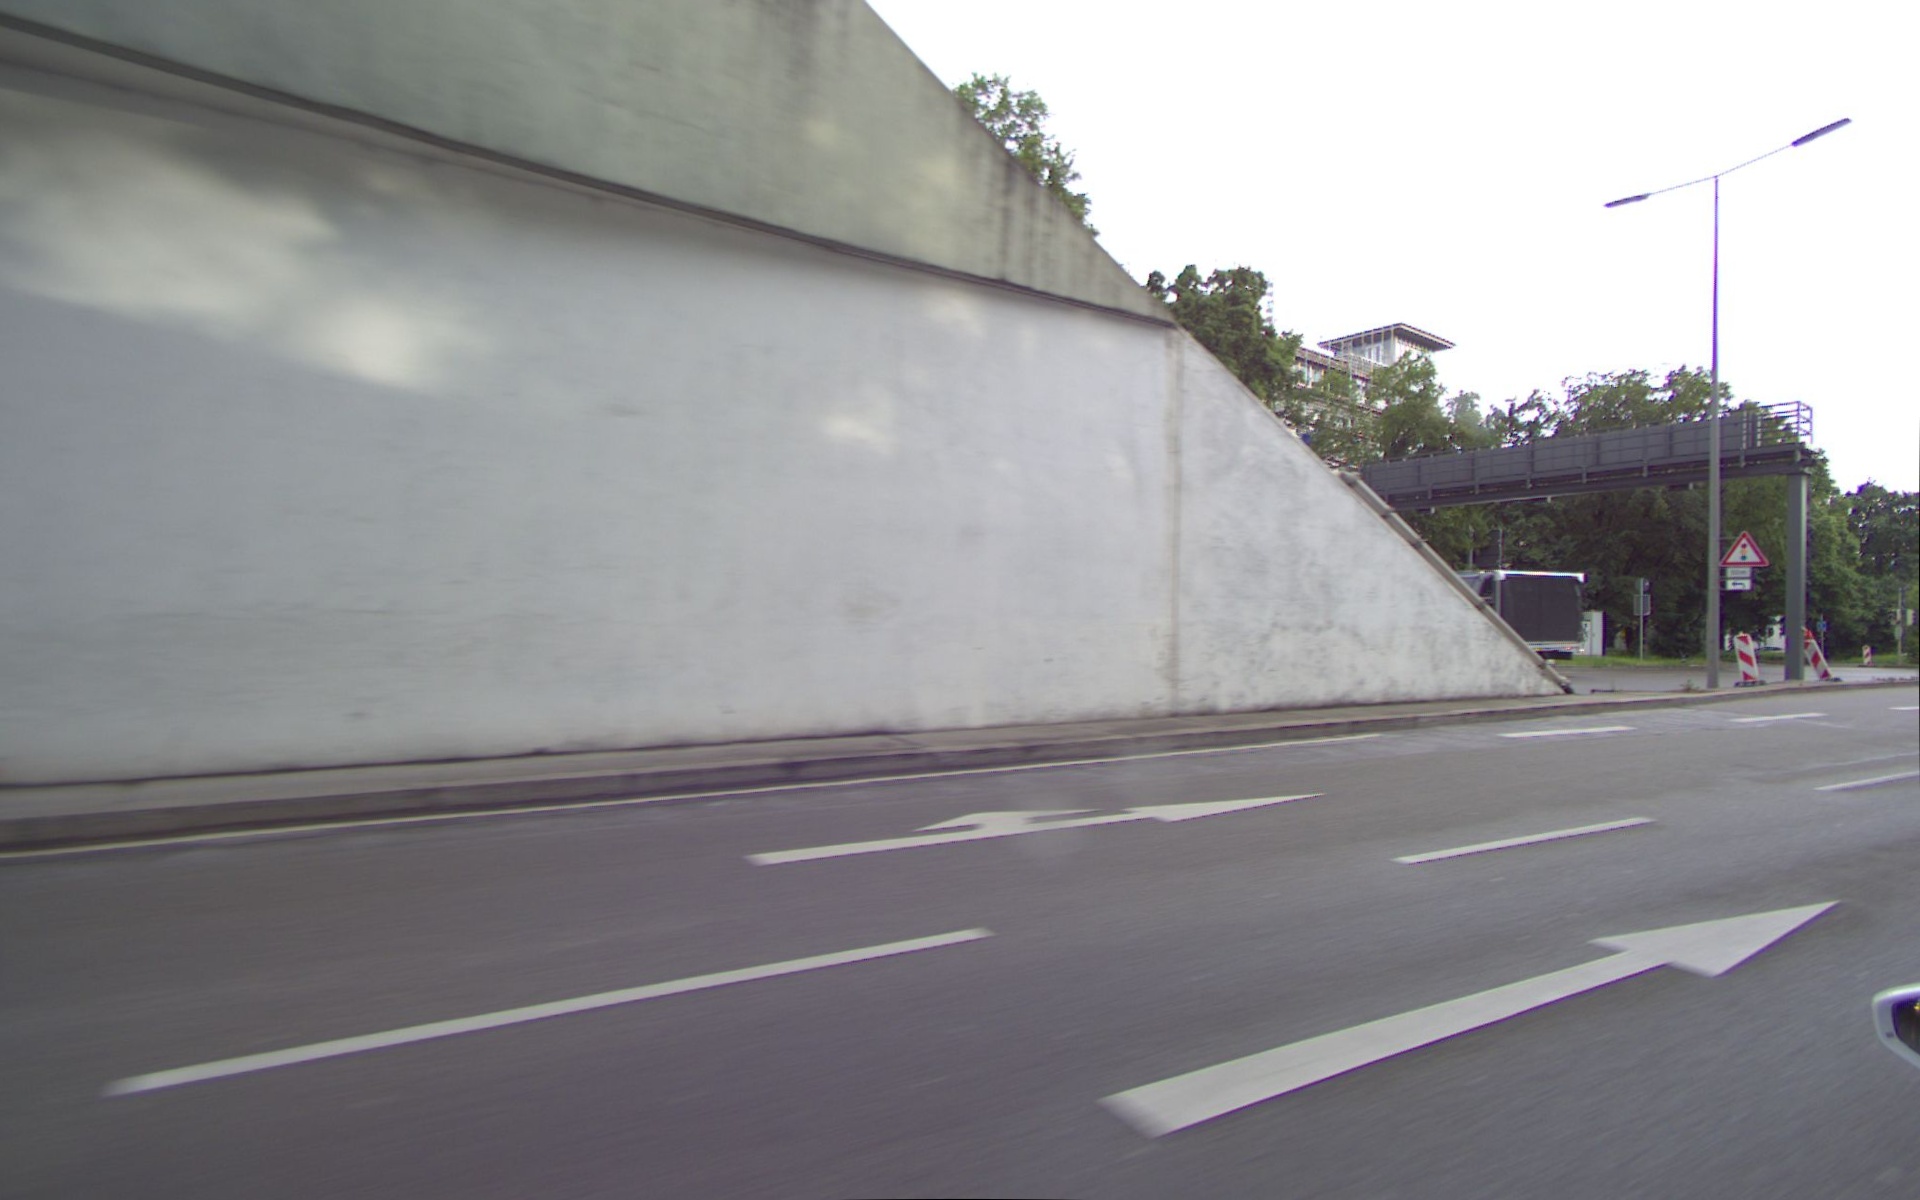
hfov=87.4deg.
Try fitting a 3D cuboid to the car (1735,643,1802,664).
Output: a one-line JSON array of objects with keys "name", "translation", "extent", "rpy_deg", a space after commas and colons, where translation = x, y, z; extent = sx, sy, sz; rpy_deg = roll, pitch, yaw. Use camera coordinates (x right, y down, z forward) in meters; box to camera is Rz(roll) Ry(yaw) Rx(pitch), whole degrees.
[{"name": "car", "translation": [67.126, 4.423, 83.432], "extent": [1.874, 1.534, 3.971], "rpy_deg": [1, -1, -28]}]

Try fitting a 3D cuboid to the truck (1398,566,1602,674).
[{"name": "truck", "translation": [18.208, 0.677, 33.773], "extent": [7.062, 3.320, 2.784], "rpy_deg": [1, -1, -30]}]

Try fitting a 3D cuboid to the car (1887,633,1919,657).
[{"name": "car", "translation": [71.333, 3.311, 74.062], "extent": [1.874, 1.706, 3.970], "rpy_deg": [1, -1, -29]}]
